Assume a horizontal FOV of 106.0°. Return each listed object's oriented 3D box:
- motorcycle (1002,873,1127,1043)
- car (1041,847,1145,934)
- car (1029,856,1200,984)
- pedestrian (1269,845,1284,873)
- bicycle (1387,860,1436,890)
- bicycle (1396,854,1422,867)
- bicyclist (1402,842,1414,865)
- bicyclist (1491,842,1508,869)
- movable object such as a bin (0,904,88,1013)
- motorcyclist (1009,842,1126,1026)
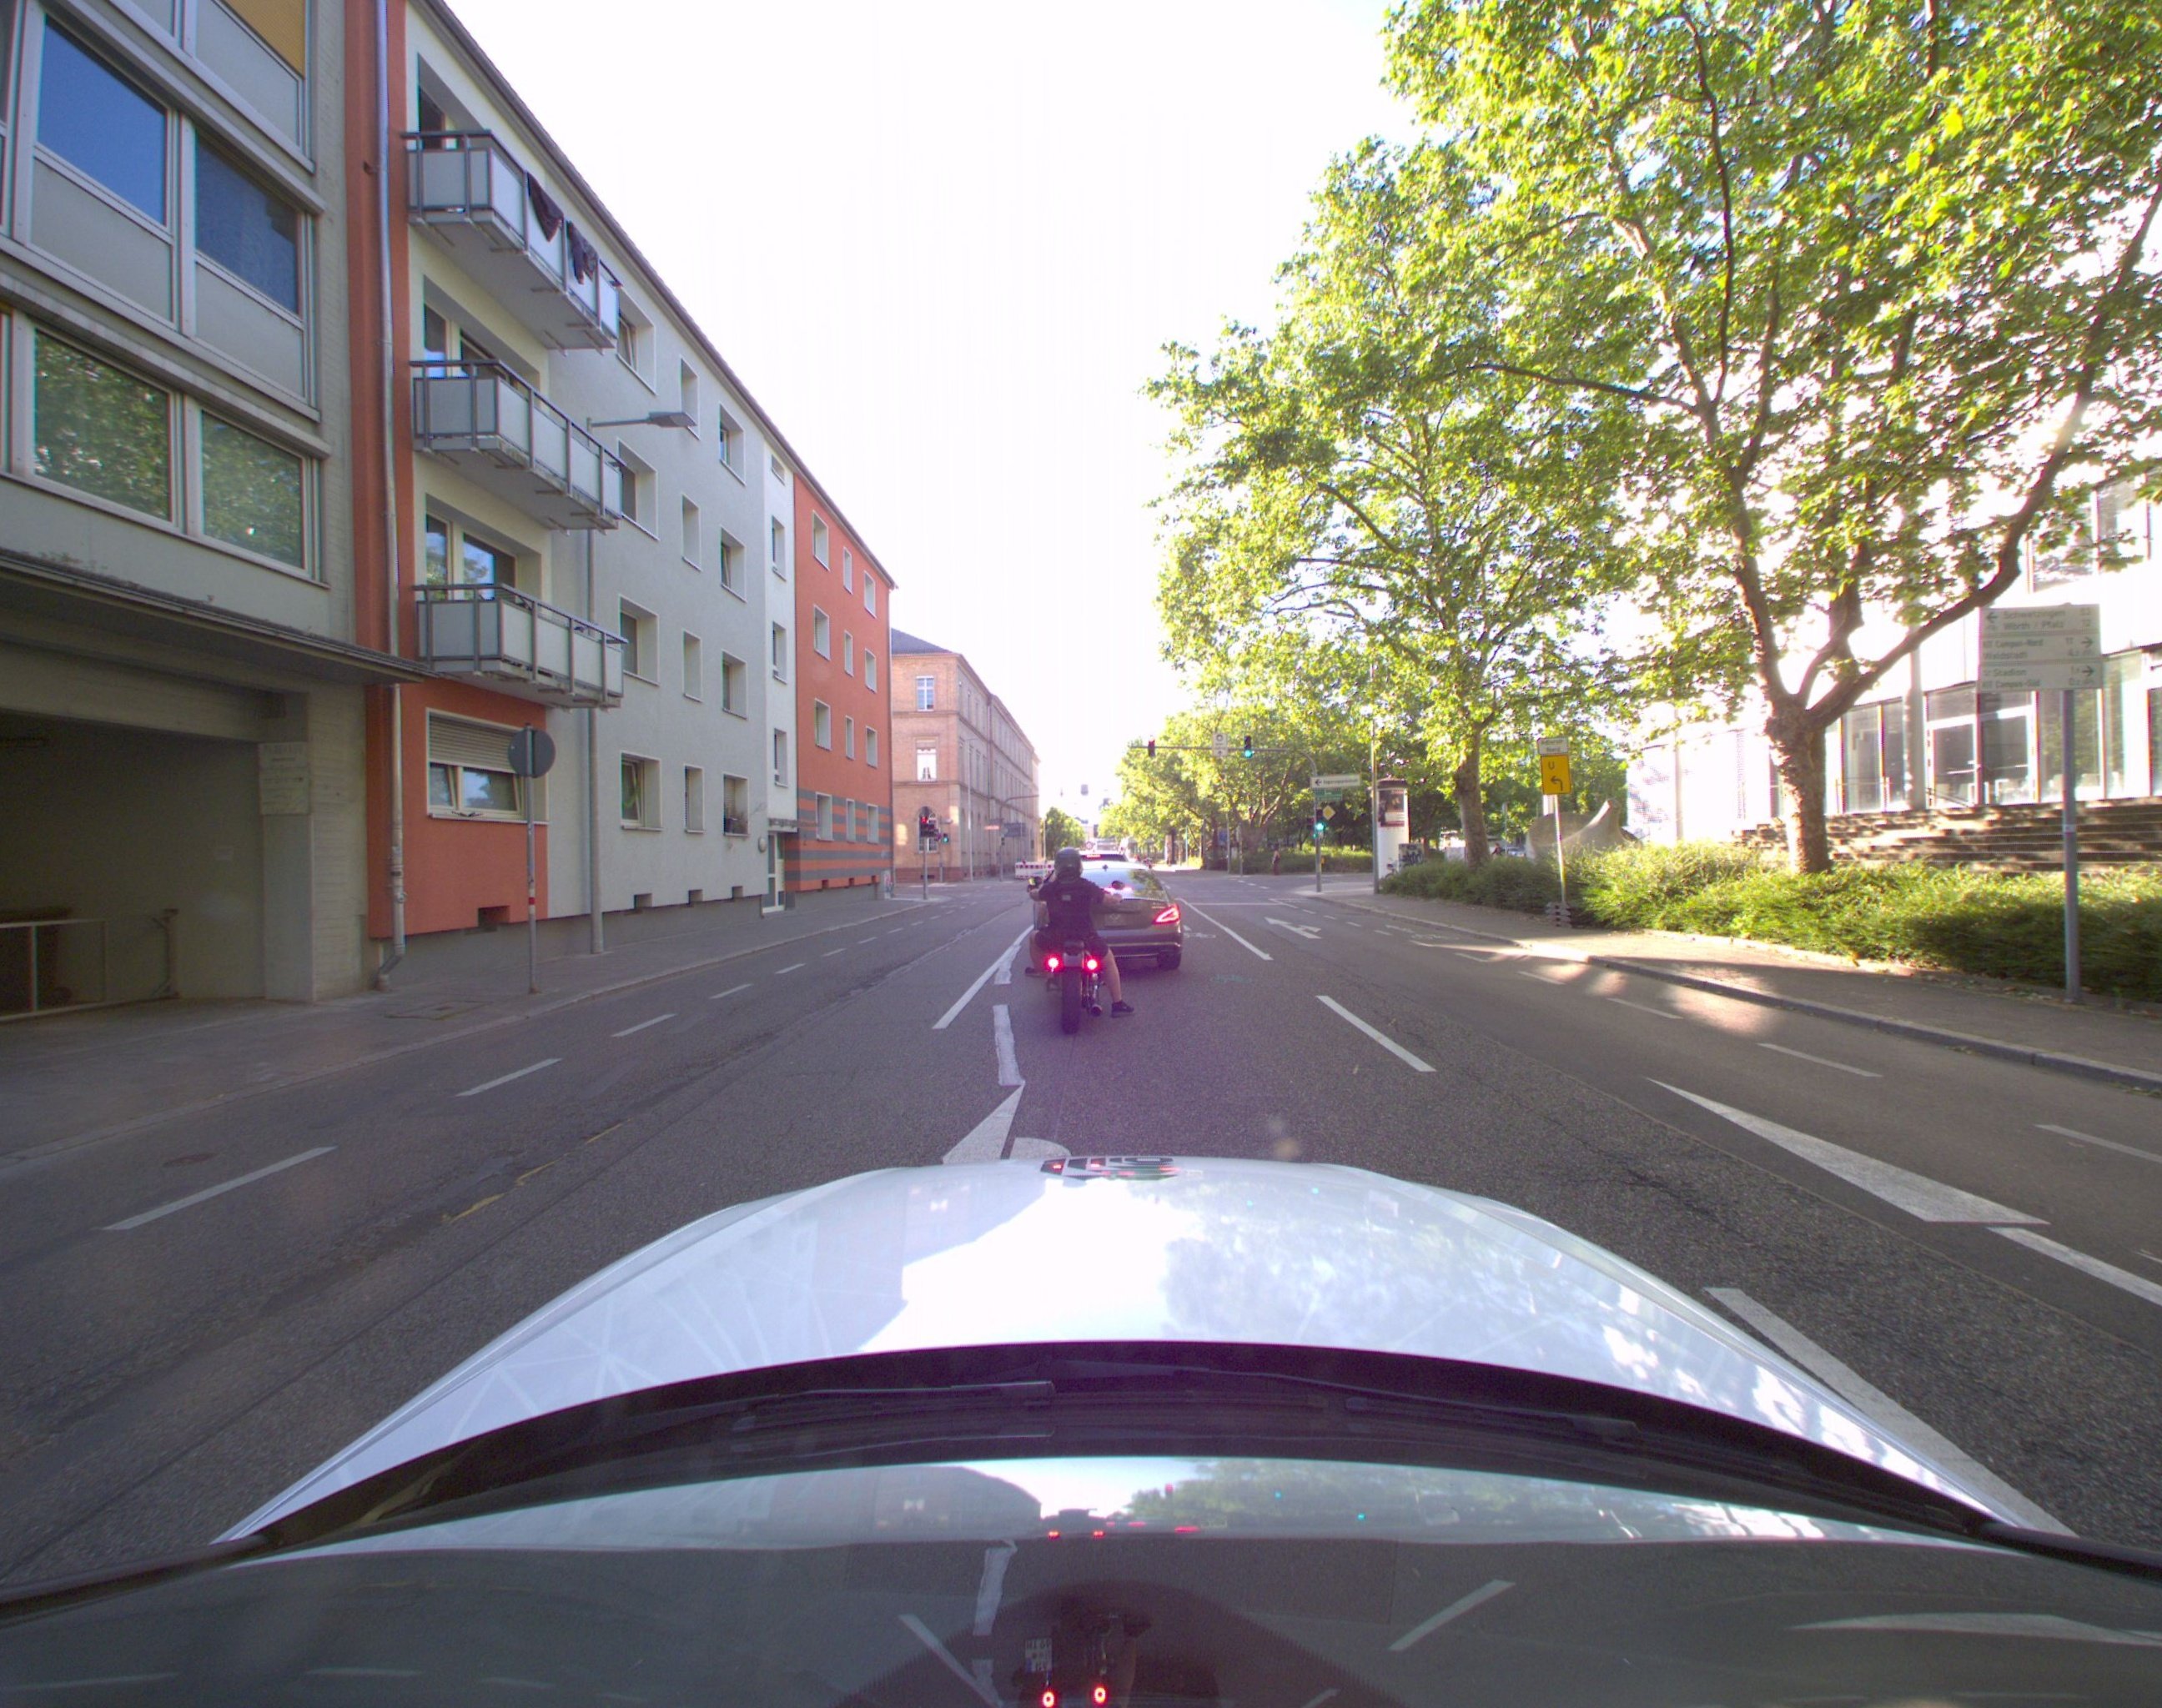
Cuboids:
[{"bbox_3d":[-0.093,0.857,7.691,0.977,1.275,2.408,-1,0,2],"label":"motorcycle"},{"bbox_3d":[0.288,0.725,17.673,1.986,1.665,4.001,0,-1,2],"label":"car"},{"bbox_3d":[0.263,0.772,11.746,1.867,1.444,4.421,-1,0,-6],"label":"car"},{"bbox_3d":[12.560,0.344,52.312,0.671,1.772,0.621,-1,-1,42],"label":"pedestrian"},{"bbox_3d":[11.078,0.711,27.324,1.475,0.980,0.300,0,-1,7],"label":"bicycle"},{"bbox_3d":[19.432,0.389,48.265,1.362,0.800,0.513,0,-1,4],"label":"bicycle"},{"bbox_3d":[19.363,-0.014,48.279,0.520,1.347,0.544,0,-1,5],"label":"bicyclist"},{"bbox_3d":[24.757,0.070,48.139,0.726,1.582,0.598,0,-1,7],"label":"bicyclist"},{"bbox_3d":[-11.290,1.092,8.648,0.639,1.065,0.675,-1,0,1],"label":"movable object such as a bin"},{"bbox_3d":[-0.098,0.695,7.703,0.977,1.578,1.249,-1,0,1],"label":"motorcyclist"}]
